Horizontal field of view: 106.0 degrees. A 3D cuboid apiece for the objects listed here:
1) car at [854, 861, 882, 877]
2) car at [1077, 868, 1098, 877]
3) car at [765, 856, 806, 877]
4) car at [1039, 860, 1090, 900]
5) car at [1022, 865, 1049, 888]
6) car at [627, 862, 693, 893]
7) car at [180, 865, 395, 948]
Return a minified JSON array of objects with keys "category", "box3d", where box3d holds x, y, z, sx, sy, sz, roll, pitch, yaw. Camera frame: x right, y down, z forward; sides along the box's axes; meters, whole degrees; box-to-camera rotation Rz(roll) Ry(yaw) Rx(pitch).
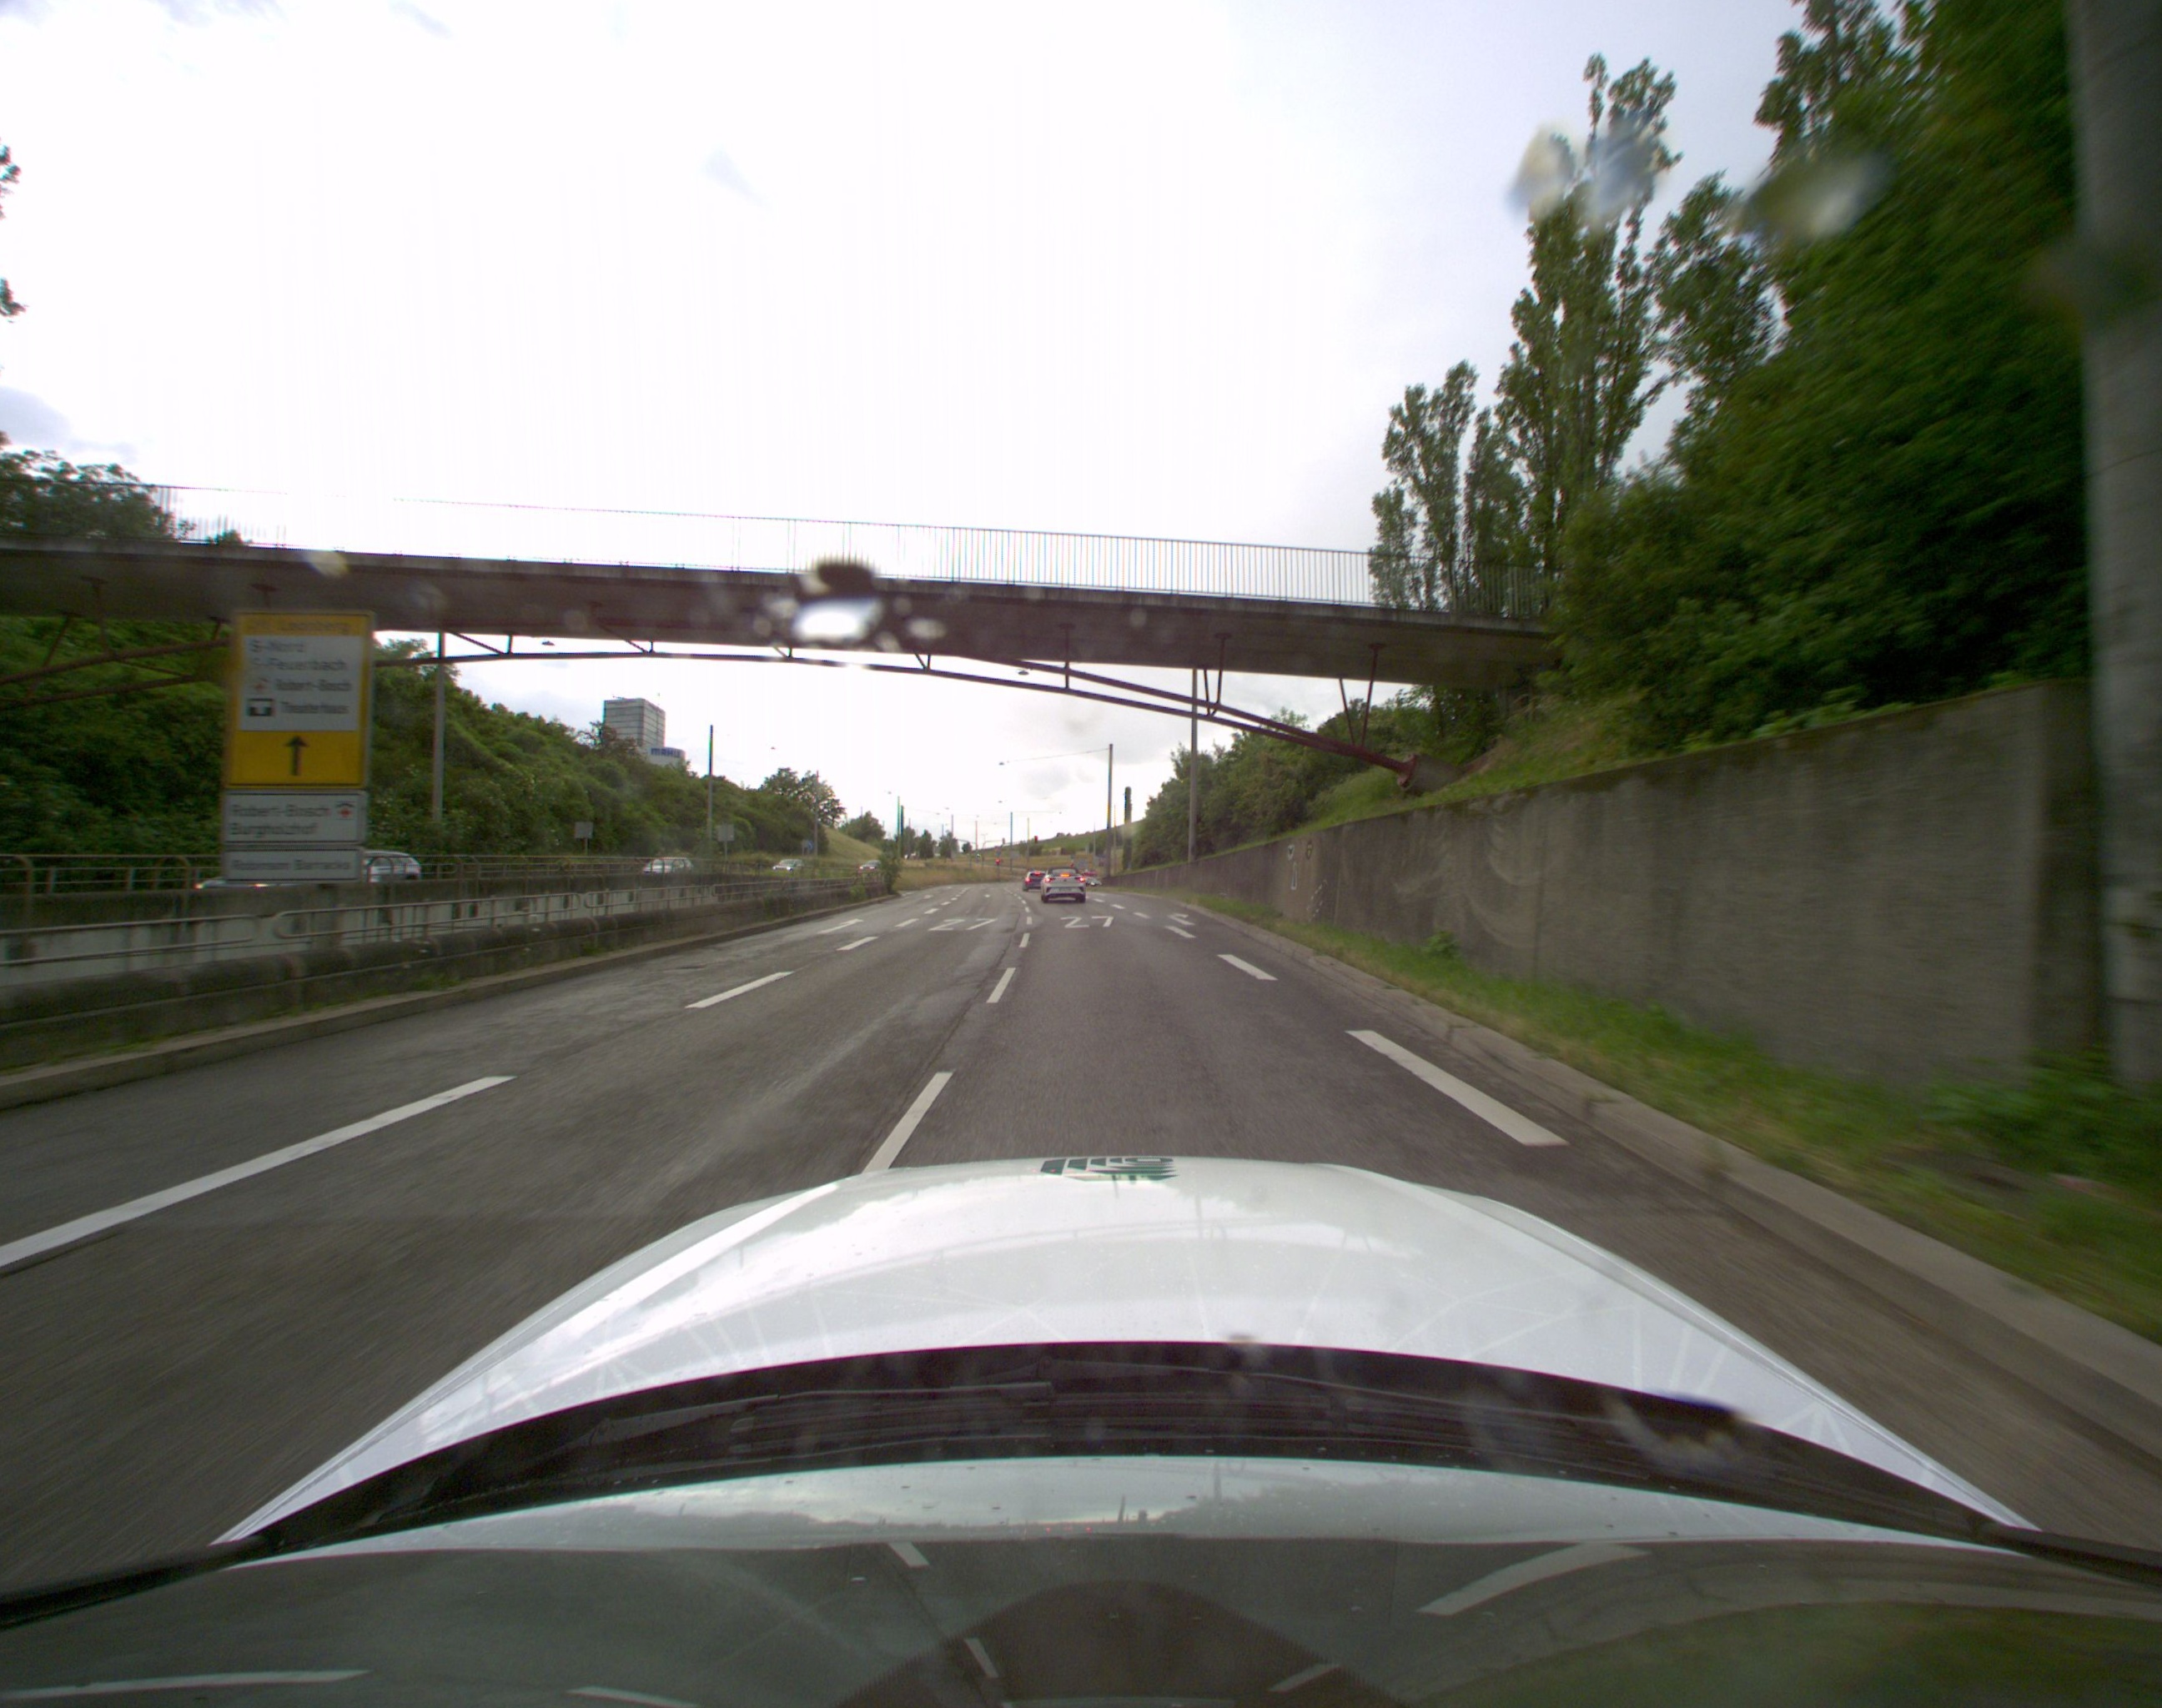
[{"category":"car","box3d":[-24.399,1.723,93.563,1.988,1.637,4.719,2,-2,-1]},{"category":"car","box3d":[1.339,3.522,158.071,2.007,1.712,4.518,0,0,-31]},{"category":"car","box3d":[-26.454,1.116,73.169,1.987,1.835,4.628,0,-1,-1]},{"category":"car","box3d":[-0.780,1.124,35.148,1.992,1.579,4.119,1,-2,-4]},{"category":"car","box3d":[-3.318,1.702,59.788,1.922,1.599,4.056,1,-2,-3]},{"category":"car","box3d":[-25.572,1.392,49.671,1.991,1.721,4.694,-2,-1,-6]},{"category":"car","box3d":[-20.093,1.239,20.897,1.667,1.829,3.996,-2,0,-3]}]
